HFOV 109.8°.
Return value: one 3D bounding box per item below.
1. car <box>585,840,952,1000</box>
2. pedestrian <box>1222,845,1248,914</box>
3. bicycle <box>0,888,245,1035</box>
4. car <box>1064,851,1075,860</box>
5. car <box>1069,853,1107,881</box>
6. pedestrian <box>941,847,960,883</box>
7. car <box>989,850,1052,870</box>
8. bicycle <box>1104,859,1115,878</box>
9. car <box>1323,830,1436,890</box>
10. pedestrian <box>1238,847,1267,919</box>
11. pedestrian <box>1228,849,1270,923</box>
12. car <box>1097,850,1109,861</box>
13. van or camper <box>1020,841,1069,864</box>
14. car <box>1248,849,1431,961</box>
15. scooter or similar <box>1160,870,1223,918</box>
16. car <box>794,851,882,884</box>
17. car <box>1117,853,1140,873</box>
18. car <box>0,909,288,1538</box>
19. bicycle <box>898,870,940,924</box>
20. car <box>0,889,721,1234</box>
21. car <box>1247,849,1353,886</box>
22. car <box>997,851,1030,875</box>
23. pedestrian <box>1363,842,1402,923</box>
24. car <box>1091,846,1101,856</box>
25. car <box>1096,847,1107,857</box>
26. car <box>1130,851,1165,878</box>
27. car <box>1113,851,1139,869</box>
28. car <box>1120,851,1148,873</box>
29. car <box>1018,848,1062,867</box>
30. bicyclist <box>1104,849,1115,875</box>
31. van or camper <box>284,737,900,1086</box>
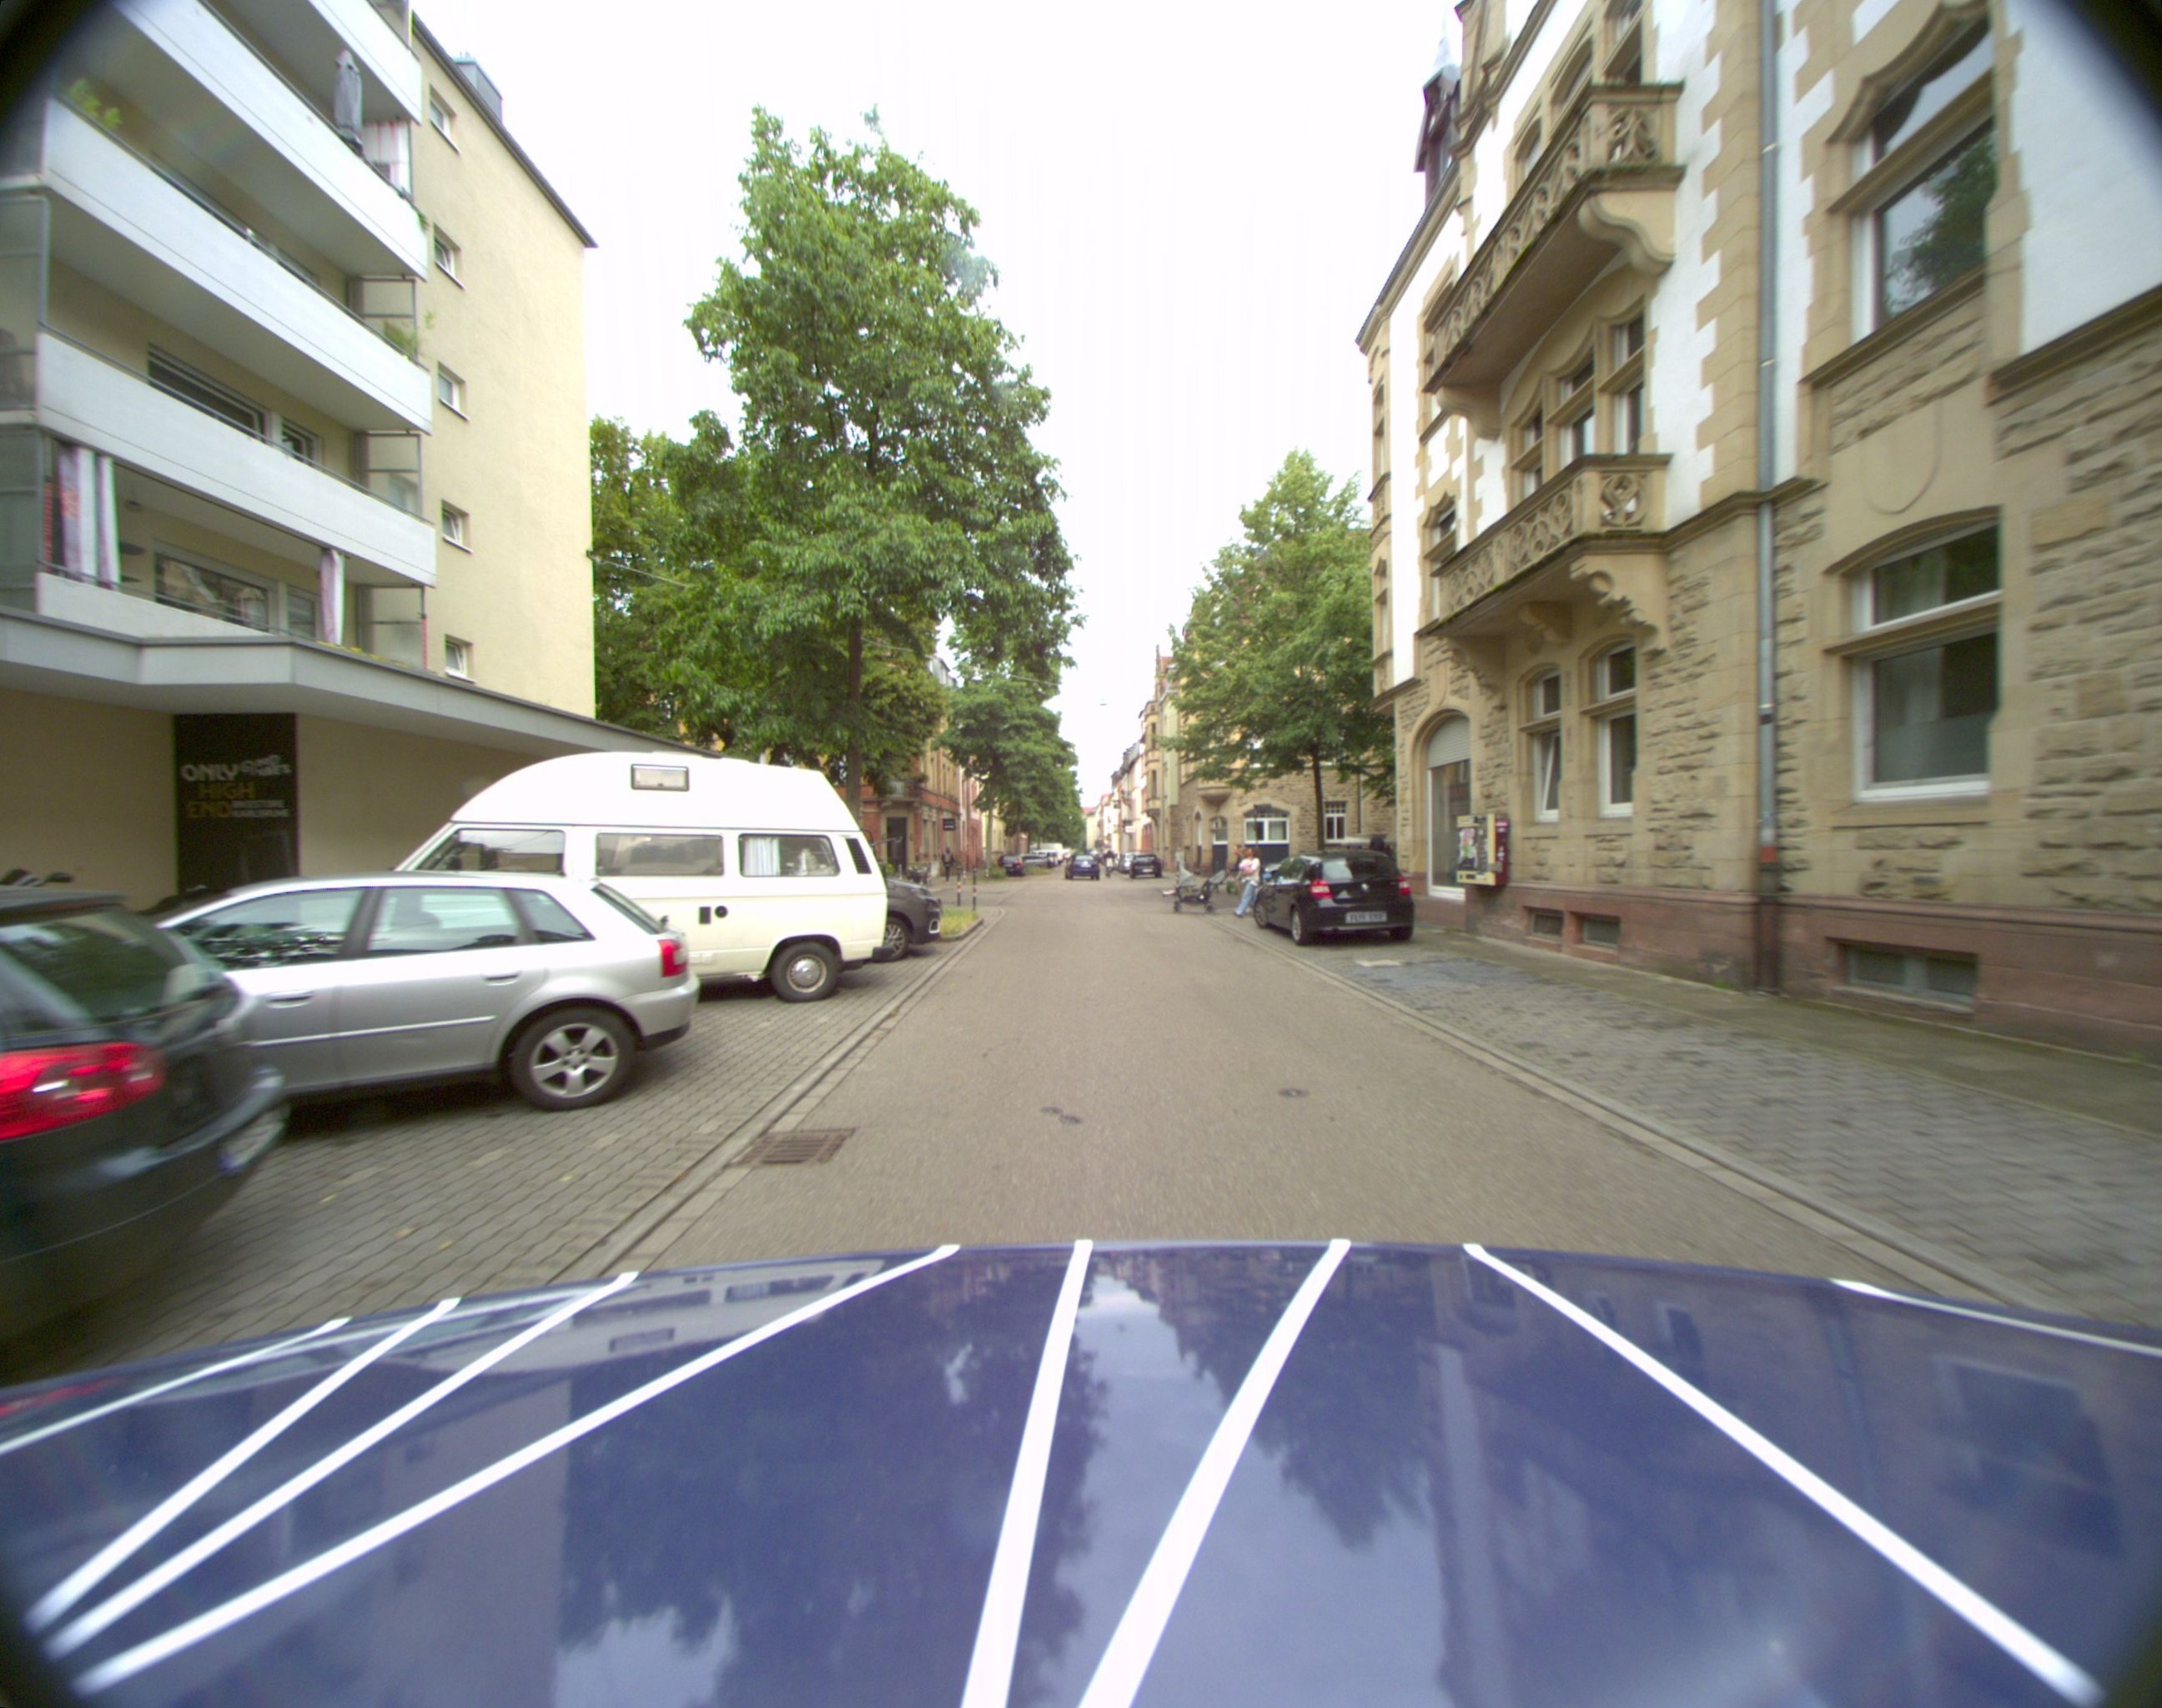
[{"bbox_3d":[-4.204,0.753,10.663,4.351,1.843,1.907,-1,1,-25],"label":"car"},{"bbox_3d":[3.732,0.611,18.369,0.528,1.634,0.529,-2,1,14],"label":"pedestrian"},{"bbox_3d":[-9.007,0.920,7.082,0.486,1.084,1.700,1,2,2],"label":"bicycle"},{"bbox_3d":[-2.424,0.304,157.782,1.998,1.740,4.000,-2,0,2],"label":"car"},{"bbox_3d":[0.334,0.711,40.155,1.713,1.404,3.852,-1,-2,-4],"label":"car"},{"bbox_3d":[-6.440,0.535,37.575,0.781,1.786,0.509,-2,1,2],"label":"pedestrian"},{"bbox_3d":[-4.568,0.452,57.450,4.453,1.419,1.754,1,1,-34],"label":"car"},{"bbox_3d":[1.685,0.844,45.343,0.635,1.087,1.799,0,0,2],"label":"bicycle"},{"bbox_3d":[10.430,0.177,26.873,1.834,1.956,3.957,-1,1,-13],"label":"car"},{"bbox_3d":[3.976,0.671,17.647,0.617,1.634,0.604,-1,1,12],"label":"pedestrian"},{"bbox_3d":[3.720,0.696,16.820,0.630,1.584,0.671,-1,1,41],"label":"pedestrian"},{"bbox_3d":[3.056,0.242,106.784,1.610,1.463,3.342,-1,1,-1],"label":"car"},{"bbox_3d":[-4.148,-0.165,86.702,5.077,2.576,2.069,-1,1,-30],"label":"van or camper"},{"bbox_3d":[4.056,0.702,12.639,1.713,1.486,4.000,-2,0,1],"label":"car"},{"bbox_3d":[2.694,0.947,18.466,1.471,1.098,0.676,0,1,11],"label":"scooter or similar"},{"bbox_3d":[-12.261,0.671,38.418,3.830,1.532,1.661,-1,2,7],"label":"car"},{"bbox_3d":[3.623,0.693,58.682,1.521,1.425,3.455,-2,0,0],"label":"car"},{"bbox_3d":[-4.610,0.944,1.662,3.675,1.472,1.684,1,0,-33],"label":"car"},{"bbox_3d":[-3.671,0.941,17.111,0.608,1.088,1.782,-1,1,-22],"label":"bicycle"},{"bbox_3d":[-4.418,0.963,4.550,3.824,1.409,1.720,1,0,-36],"label":"car"},{"bbox_3d":[9.646,0.582,33.704,4.280,1.459,1.662,-1,4,7],"label":"car"},{"bbox_3d":[-4.405,0.577,50.278,1.768,1.477,4.479,1,0,0],"label":"car"},{"bbox_3d":[5.754,0.538,14.529,0.517,1.510,0.546,-1,1,0],"label":"pedestrian"},{"bbox_3d":[3.385,-0.724,173.090,2.052,2.071,3.811,-2,0,1],"label":"car"},{"bbox_3d":[3.055,-0.359,113.516,1.457,1.401,3.811,-2,0,1],"label":"car"},{"bbox_3d":[3.802,0.586,44.045,1.731,1.425,3.882,-2,0,2],"label":"car"},{"bbox_3d":[3.728,0.475,63.655,1.671,1.502,3.552,-1,1,-5],"label":"car"},{"bbox_3d":[3.695,0.534,53.798,1.593,1.425,3.809,-3,0,-1],"label":"car"},{"bbox_3d":[-4.094,0.365,76.196,3.993,1.801,1.721,-1,1,11],"label":"car"},{"bbox_3d":[1.683,0.457,45.394,0.649,1.529,0.677,0,1,2],"label":"bicyclist"},{"bbox_3d":[-4.402,0.394,7.643,4.604,2.581,1.906,-1,1,-32],"label":"van or camper"}]
